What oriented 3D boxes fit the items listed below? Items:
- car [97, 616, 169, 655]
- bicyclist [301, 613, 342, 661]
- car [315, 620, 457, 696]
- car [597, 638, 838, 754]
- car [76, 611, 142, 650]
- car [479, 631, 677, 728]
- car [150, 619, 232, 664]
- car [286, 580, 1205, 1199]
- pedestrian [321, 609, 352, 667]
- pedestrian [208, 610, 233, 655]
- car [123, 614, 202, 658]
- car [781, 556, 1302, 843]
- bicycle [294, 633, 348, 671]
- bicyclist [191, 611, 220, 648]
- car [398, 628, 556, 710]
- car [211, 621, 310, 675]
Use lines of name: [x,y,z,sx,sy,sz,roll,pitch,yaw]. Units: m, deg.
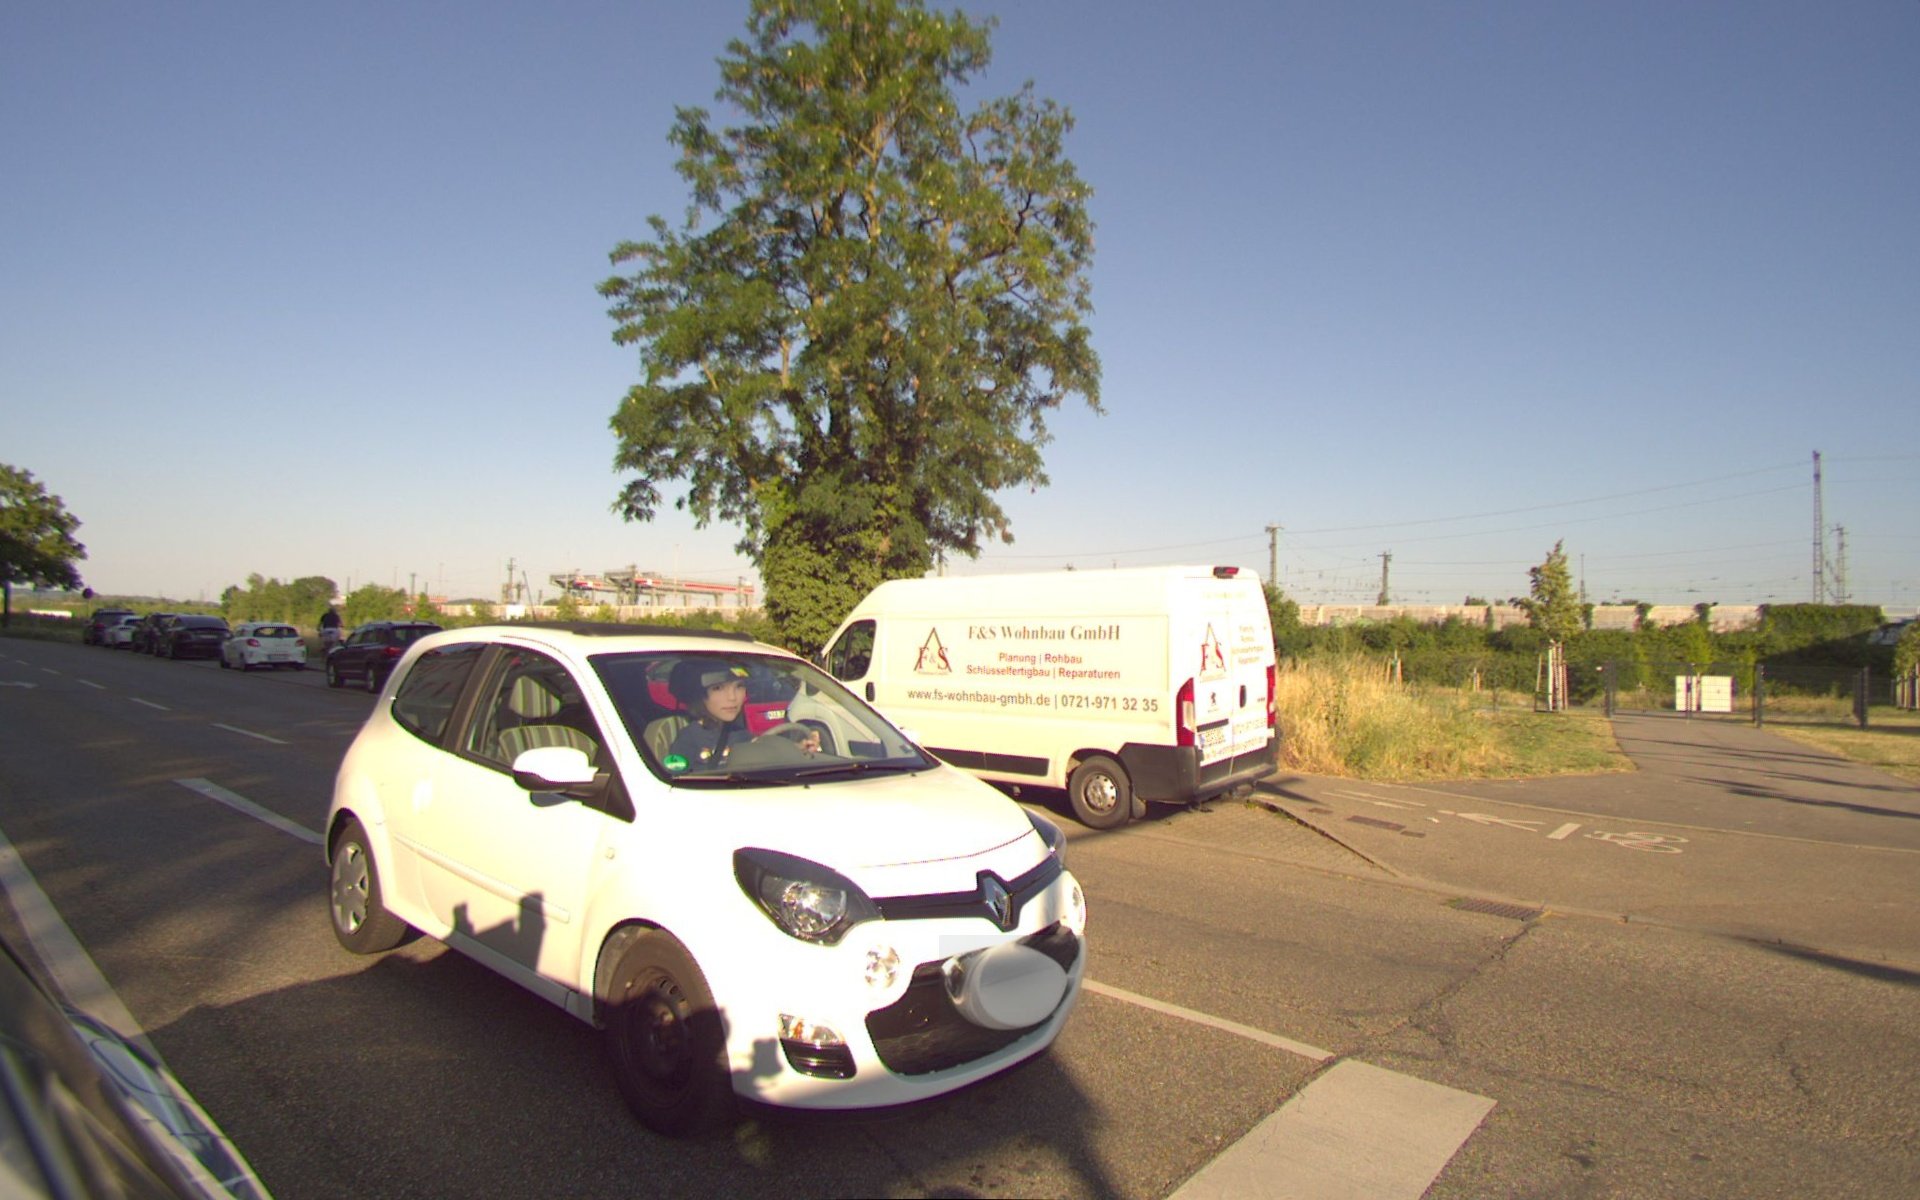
car: [-36.716,1.558,44.884,4.219,1.586,1.799,-1,-4,43]
bicyclist: [-21.785,1.266,34.529,1.146,1.609,0.854,-1,-4,43]
car: [-13.847,1.358,24.331,4.003,1.672,1.642,0,-4,40]
car: [-3.801,1.405,15.608,3.692,1.498,1.723,0,-4,40]
car: [-41.085,1.458,48.832,4.219,1.789,1.866,-1,-4,43]
car: [-7.051,1.394,18.531,3.814,1.541,1.723,0,-4,40]
car: [-28.482,1.503,37.448,1.798,1.538,4.292,5,-4,-45]
car: [-1.120,0.755,4.152,3.772,1.480,1.683,0,-4,40]
pedestrian: [-22.150,1.334,35.943,0.729,2.029,0.608,-1,-4,39]
pedestrian: [-34.064,1.503,46.602,0.710,2.029,0.697,-1,-4,42]
car: [-32.630,1.458,41.371,4.219,1.650,1.799,-1,-4,43]
car: [0.679,0.871,11.292,5.556,2.455,2.207,0,-1,40]
bicycle: [-21.787,1.764,34.482,2.482,1.197,0.927,-1,-4,43]
bicyclist: [-33.221,1.290,44.546,1.146,1.609,0.758,-1,-4,43]
car: [-10.266,1.414,21.412,3.577,1.541,1.642,0,-4,40]
car: [-21.808,1.485,31.510,3.582,1.538,1.684,-1,-4,42]
